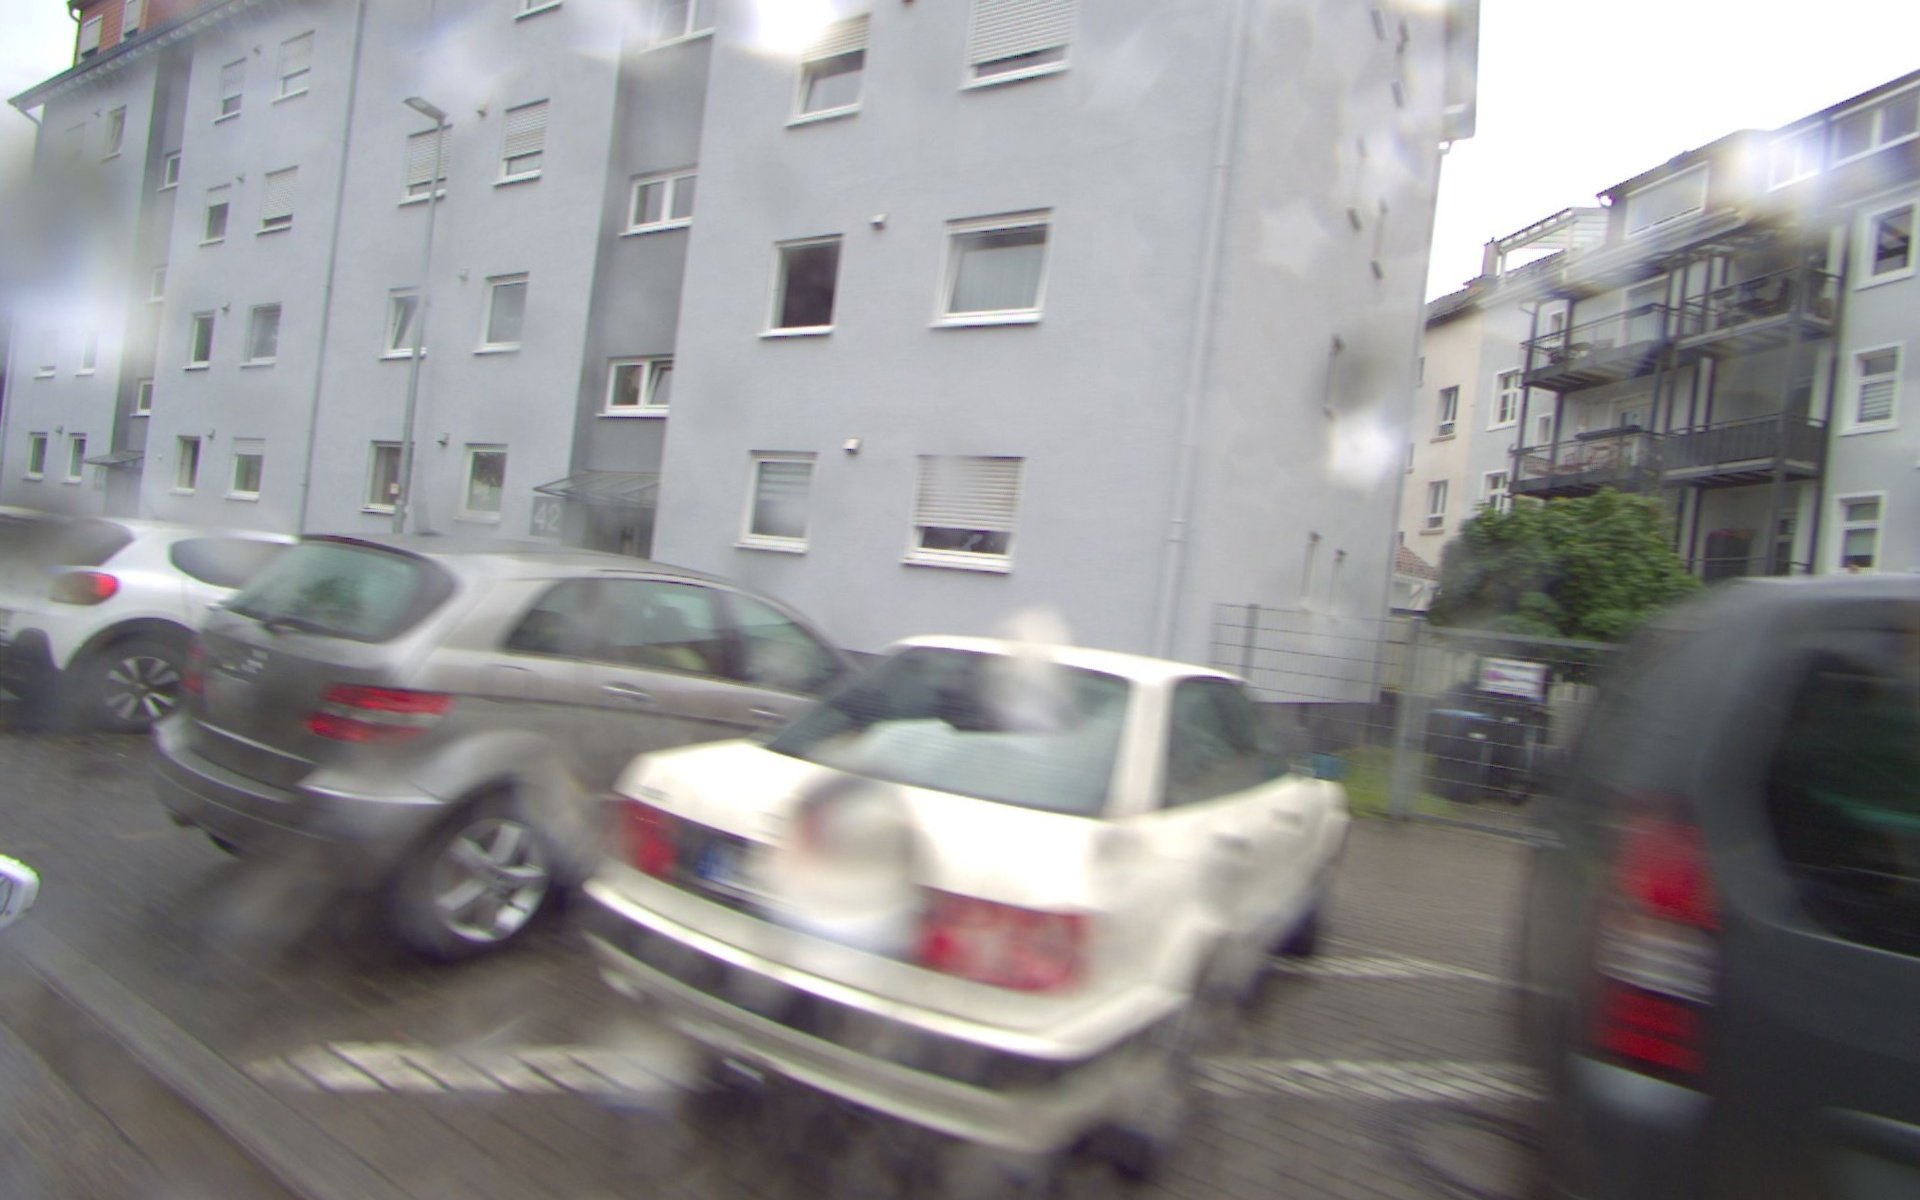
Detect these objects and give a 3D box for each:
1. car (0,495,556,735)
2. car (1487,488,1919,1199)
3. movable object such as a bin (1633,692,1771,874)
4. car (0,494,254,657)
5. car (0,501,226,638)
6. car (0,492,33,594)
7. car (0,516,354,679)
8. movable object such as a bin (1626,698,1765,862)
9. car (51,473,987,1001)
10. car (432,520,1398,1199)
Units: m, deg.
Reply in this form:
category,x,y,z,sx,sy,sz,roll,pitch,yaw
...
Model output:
category,x,y,z,sx,sy,sz,roll,pitch,yaw
car,-5.657,0.184,8.386,1.805,1.471,3.862,7,-1,29
car,2.880,0.943,3.240,1.911,1.827,4.240,7,-1,28
movable object such as a bin,6.688,1.599,9.064,0.810,1.394,1.235,7,-1,38
car,-10.286,-0.375,10.564,1.979,1.503,4.152,6,-2,31
car,-12.193,-0.531,12.378,1.968,1.452,4.635,6,-2,33
car,-16.713,-1.163,14.853,1.821,1.570,3.996,6,-2,30
car,-8.157,-0.060,9.295,1.924,1.222,3.859,7,-2,33
movable object such as a bin,7.421,1.769,10.153,0.940,1.394,1.216,7,-1,39
car,-1.741,0.567,5.397,1.858,1.589,4.191,6,-2,30
car,0.467,0.829,4.108,1.857,1.587,4.198,6,-1,30
